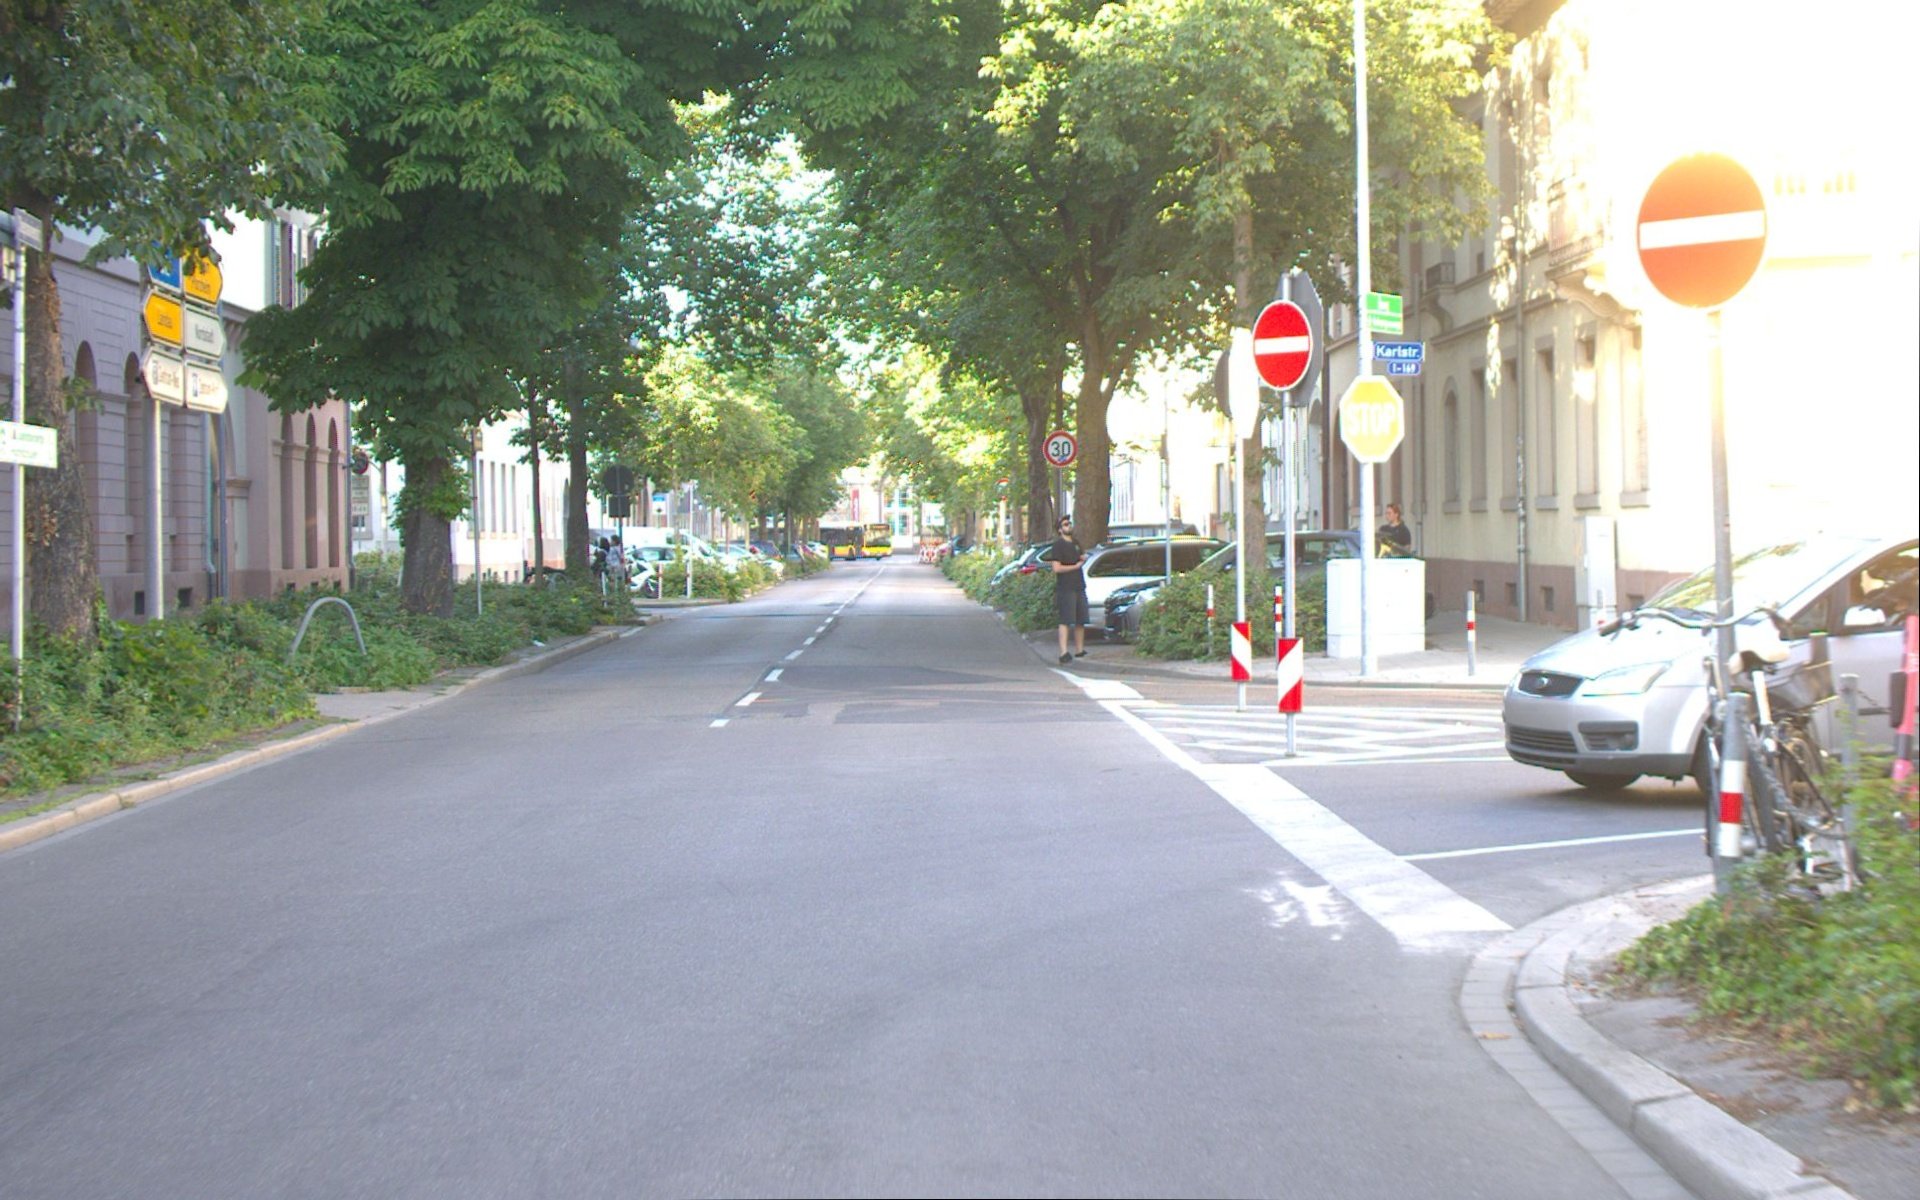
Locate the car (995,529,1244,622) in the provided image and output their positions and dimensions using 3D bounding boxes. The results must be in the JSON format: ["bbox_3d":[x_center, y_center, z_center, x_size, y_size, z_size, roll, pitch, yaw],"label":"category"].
[{"bbox_3d":[2.646,-0.421,57.648,4.014,1.475,1.781,-1,1,-2],"label":"car"}]

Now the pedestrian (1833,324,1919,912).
[{"bbox_3d":[3.978,0.065,13.040,1.043,2.139,1.063,0,0,0],"label":"pedestrian"}]

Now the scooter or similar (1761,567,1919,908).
[{"bbox_3d":[3.671,0.499,13.285,1.271,1.239,0.506,-2,2,-44],"label":"scooter or similar"}]

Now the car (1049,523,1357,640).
[{"bbox_3d":[3.424,-0.280,48.962,4.192,1.475,1.852,-2,1,0],"label":"car"}]

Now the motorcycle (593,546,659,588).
[{"bbox_3d":[-8.559,-0.860,88.217,1.636,1.064,0.656,0,1,-1],"label":"motorcycle"}]

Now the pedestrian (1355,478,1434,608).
[{"bbox_3d":[5.781,-0.764,45.757,0.943,1.700,0.782,-1,2,1],"label":"pedestrian"}]

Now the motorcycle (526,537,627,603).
[{"bbox_3d":[-7.536,-0.594,67.617,1.919,1.254,0.591,-1,1,-1],"label":"motorcycle"}]

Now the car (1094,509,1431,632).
[{"bbox_3d":[3.833,-0.398,43.993,4.107,1.485,1.850,0,2,-2],"label":"car"}]

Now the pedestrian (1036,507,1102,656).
[{"bbox_3d":[1.384,-0.234,43.435,0.794,1.862,0.751,0,1,4],"label":"pedestrian"}]

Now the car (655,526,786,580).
[{"bbox_3d":[-9.669,-1.903,139.116,5.064,2.076,2.263,-1,1,1],"label":"car"}]

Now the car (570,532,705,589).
[{"bbox_3d":[-9.118,-1.125,97.405,3.725,1.503,1.873,-1,1,-4],"label":"car"}]

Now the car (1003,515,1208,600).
[{"bbox_3d":[2.942,-0.879,70.075,4.014,1.617,1.781,-1,1,-2],"label":"car"}]

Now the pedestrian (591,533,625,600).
[{"bbox_3d":[-7.377,-0.697,72.087,0.655,1.390,0.607,0,0,-1],"label":"pedestrian"}]

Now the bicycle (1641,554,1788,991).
[{"bbox_3d":[2.520,0.543,11.551,0.417,1.367,1.288,-1,1,11],"label":"bicycle"}]

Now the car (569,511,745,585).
[{"bbox_3d":[-9.033,-1.562,102.793,5.064,2.076,2.263,-1,1,-1],"label":"car"}]

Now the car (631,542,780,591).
[{"bbox_3d":[-9.074,-1.201,122.872,5.064,1.611,2.263,-1,1,3],"label":"car"}]

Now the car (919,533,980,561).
[{"bbox_3d":[-0.719,-3.616,234.966,3.988,1.831,2.000,0,1,7],"label":"car"}]

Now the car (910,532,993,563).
[{"bbox_3d":[-0.422,-2.558,167.762,3.986,1.437,1.697,-1,1,-2],"label":"car"}]

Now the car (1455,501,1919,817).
[{"bbox_3d":[5.209,0.269,19.600,4.337,1.648,1.886,-1,1,-19],"label":"car"}]
